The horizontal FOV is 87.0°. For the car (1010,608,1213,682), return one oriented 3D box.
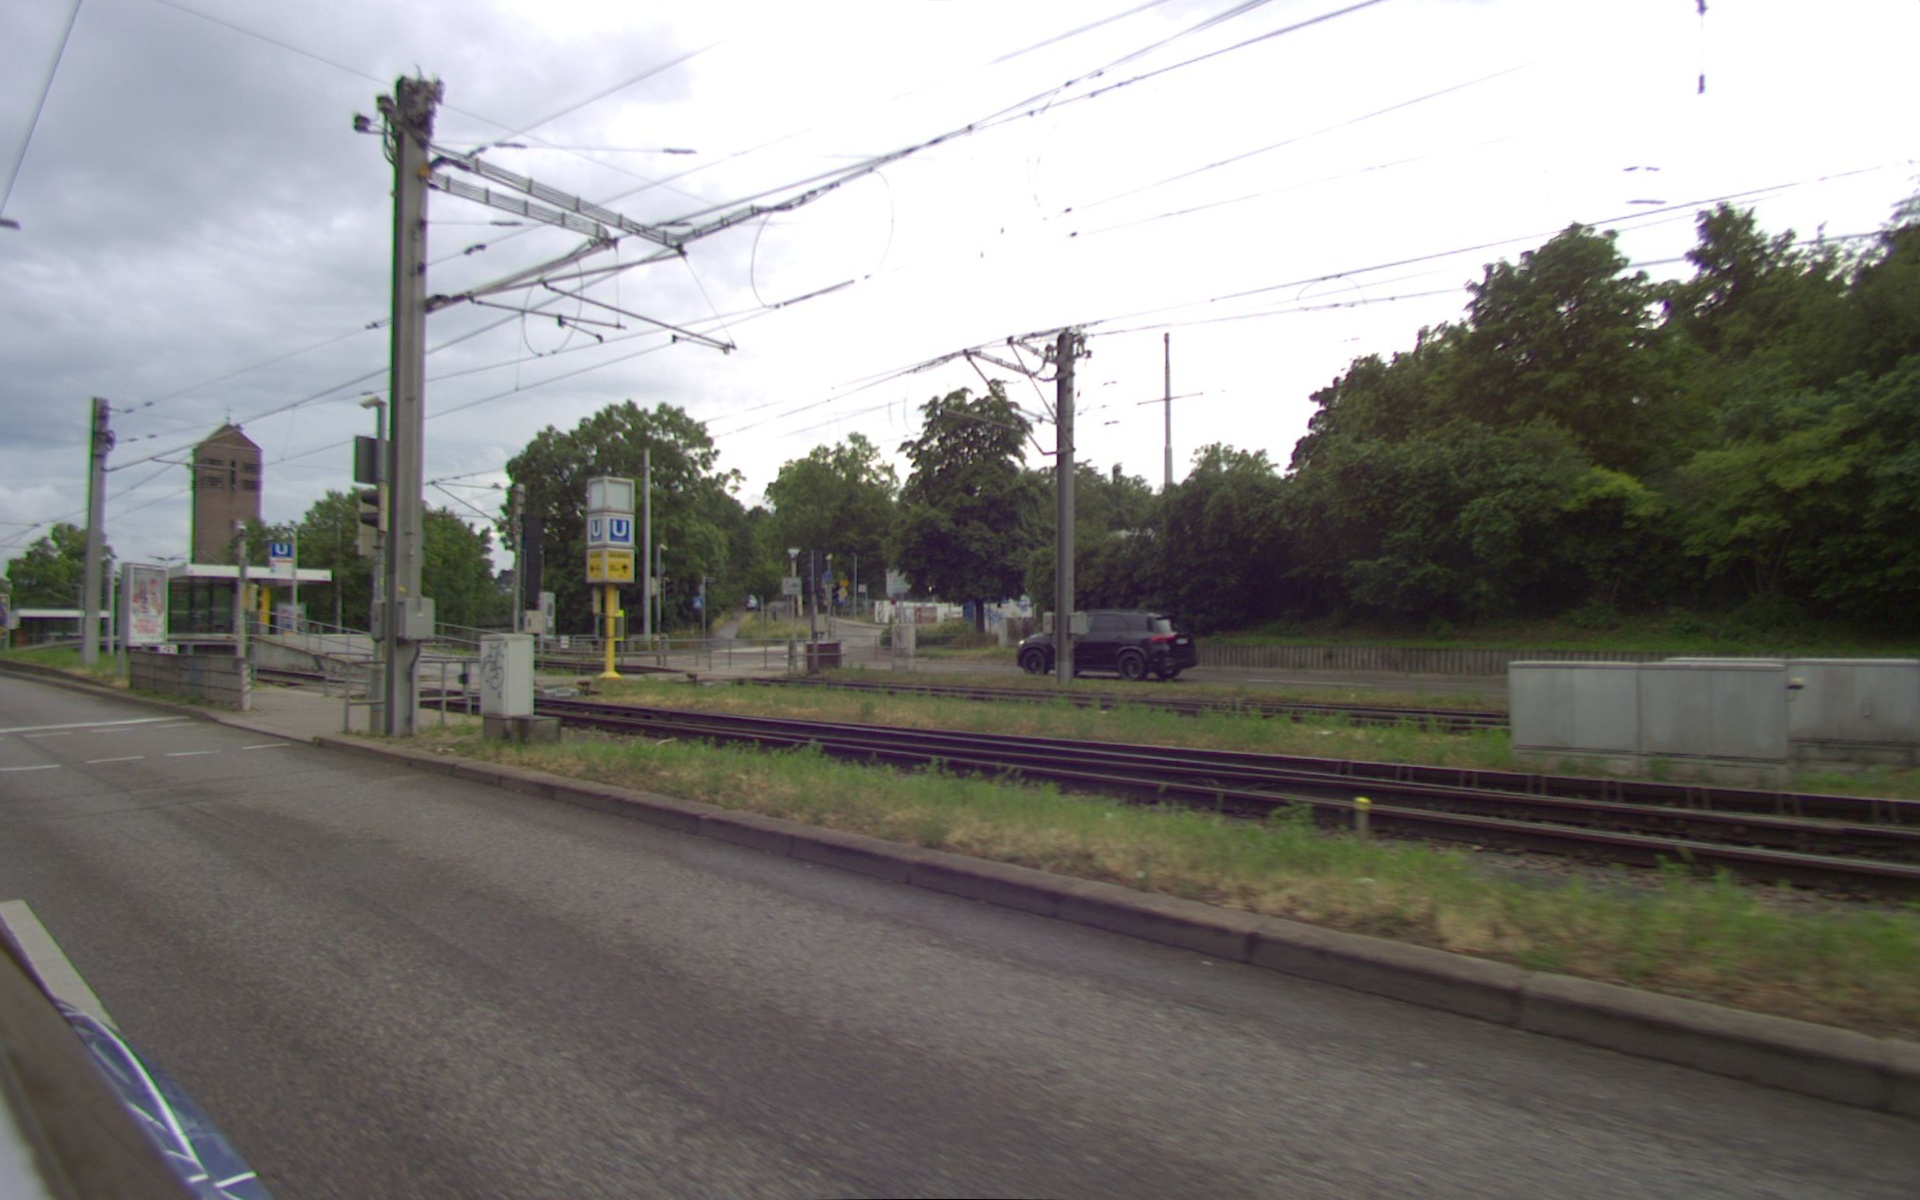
[{"bbox_3d":[3.838,1.127,26.170,4.859,1.752,2.062,-2,-2,41],"label":"car"}]
